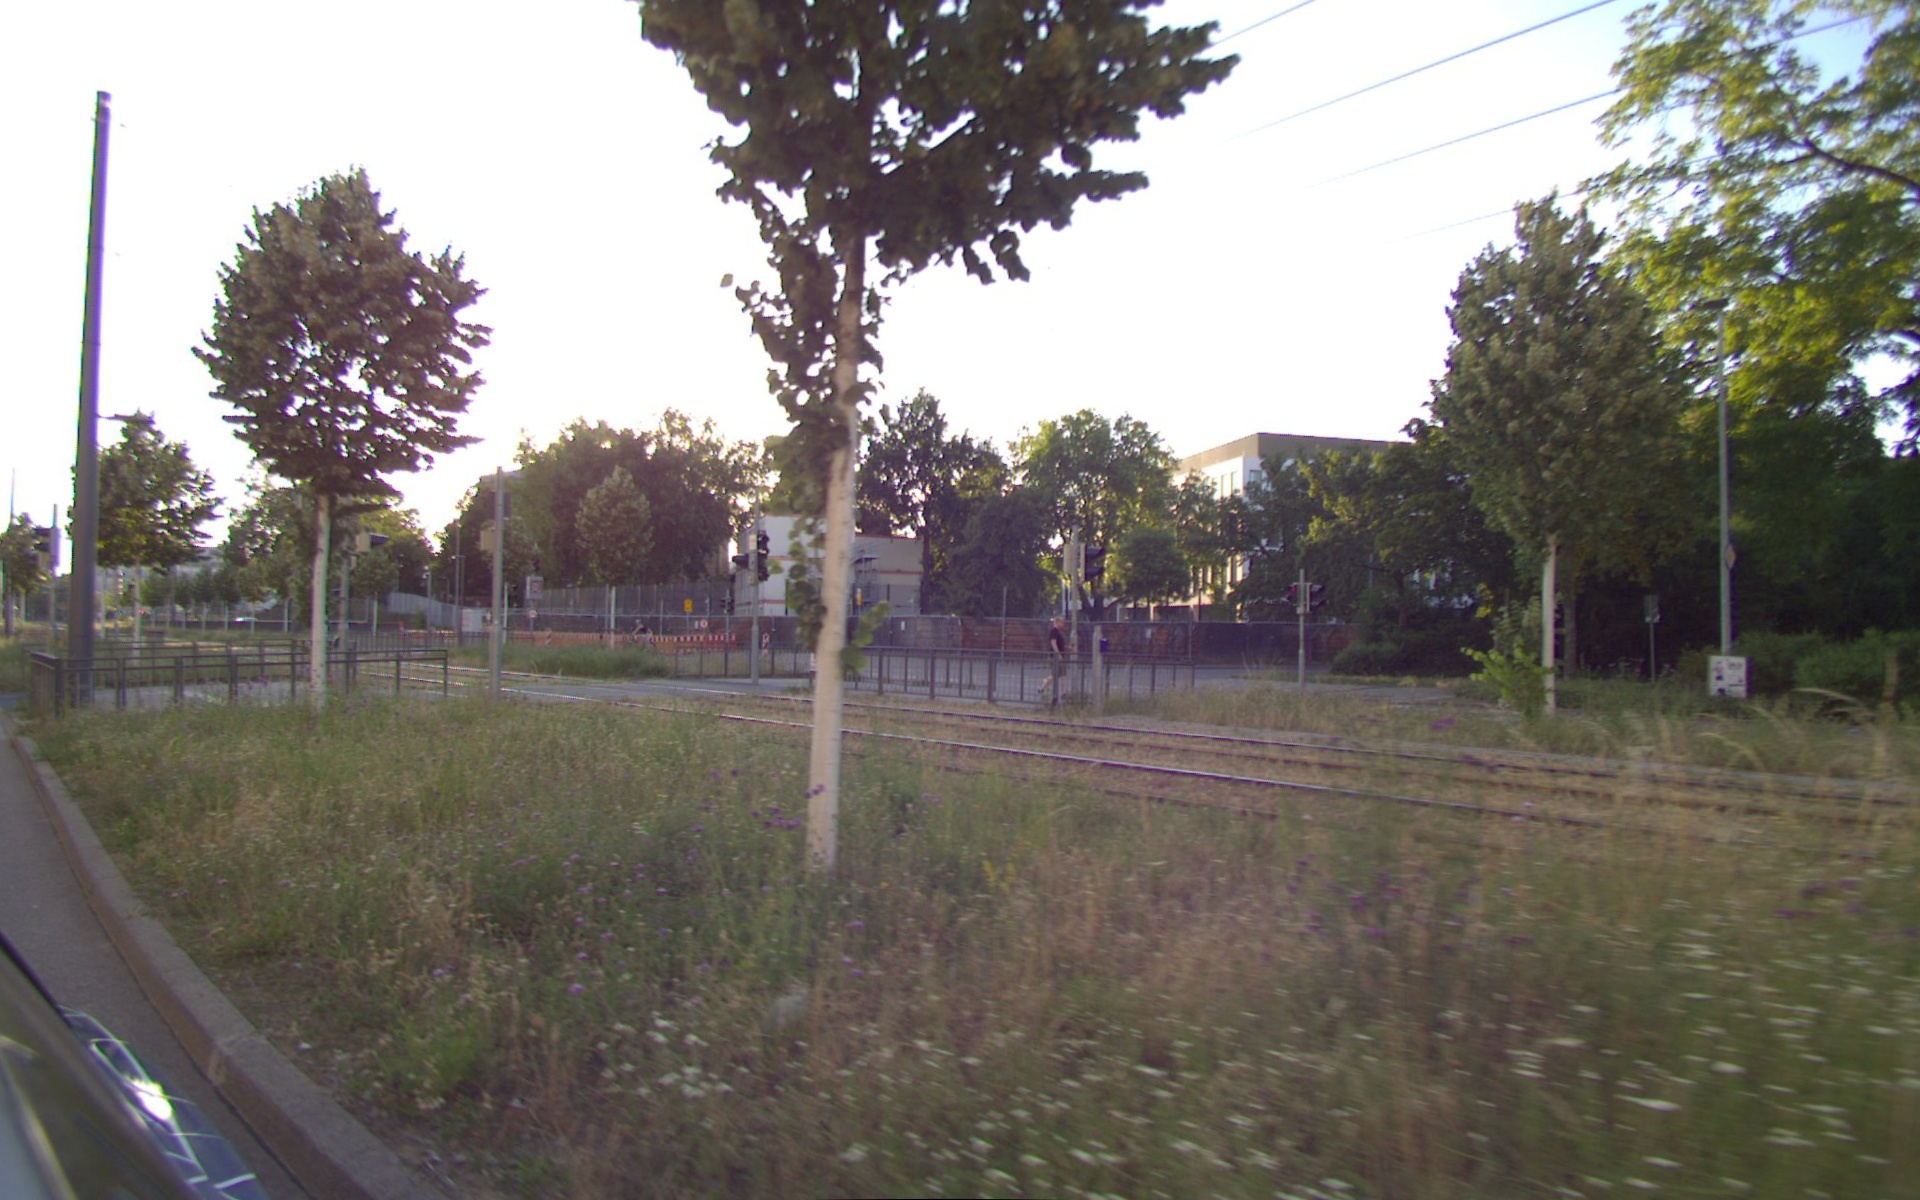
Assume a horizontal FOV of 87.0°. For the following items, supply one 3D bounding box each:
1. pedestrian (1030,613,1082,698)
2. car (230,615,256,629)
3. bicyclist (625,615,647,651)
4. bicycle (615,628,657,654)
[{"bbox_3d":[1.901,1.110,20.116,0.660,1.620,0.679,-1,-5,-31],"label":"pedestrian"},{"bbox_3d":[-83.366,2.517,117.613,3.802,1.572,1.823,-2,-1,45],"label":"car"},{"bbox_3d":[-15.430,1.561,48.185,0.928,1.633,0.719,-1,-1,-19],"label":"bicyclist"},{"bbox_3d":[-15.421,1.957,48.181,1.866,1.142,0.719,-1,0,-19],"label":"bicycle"}]
